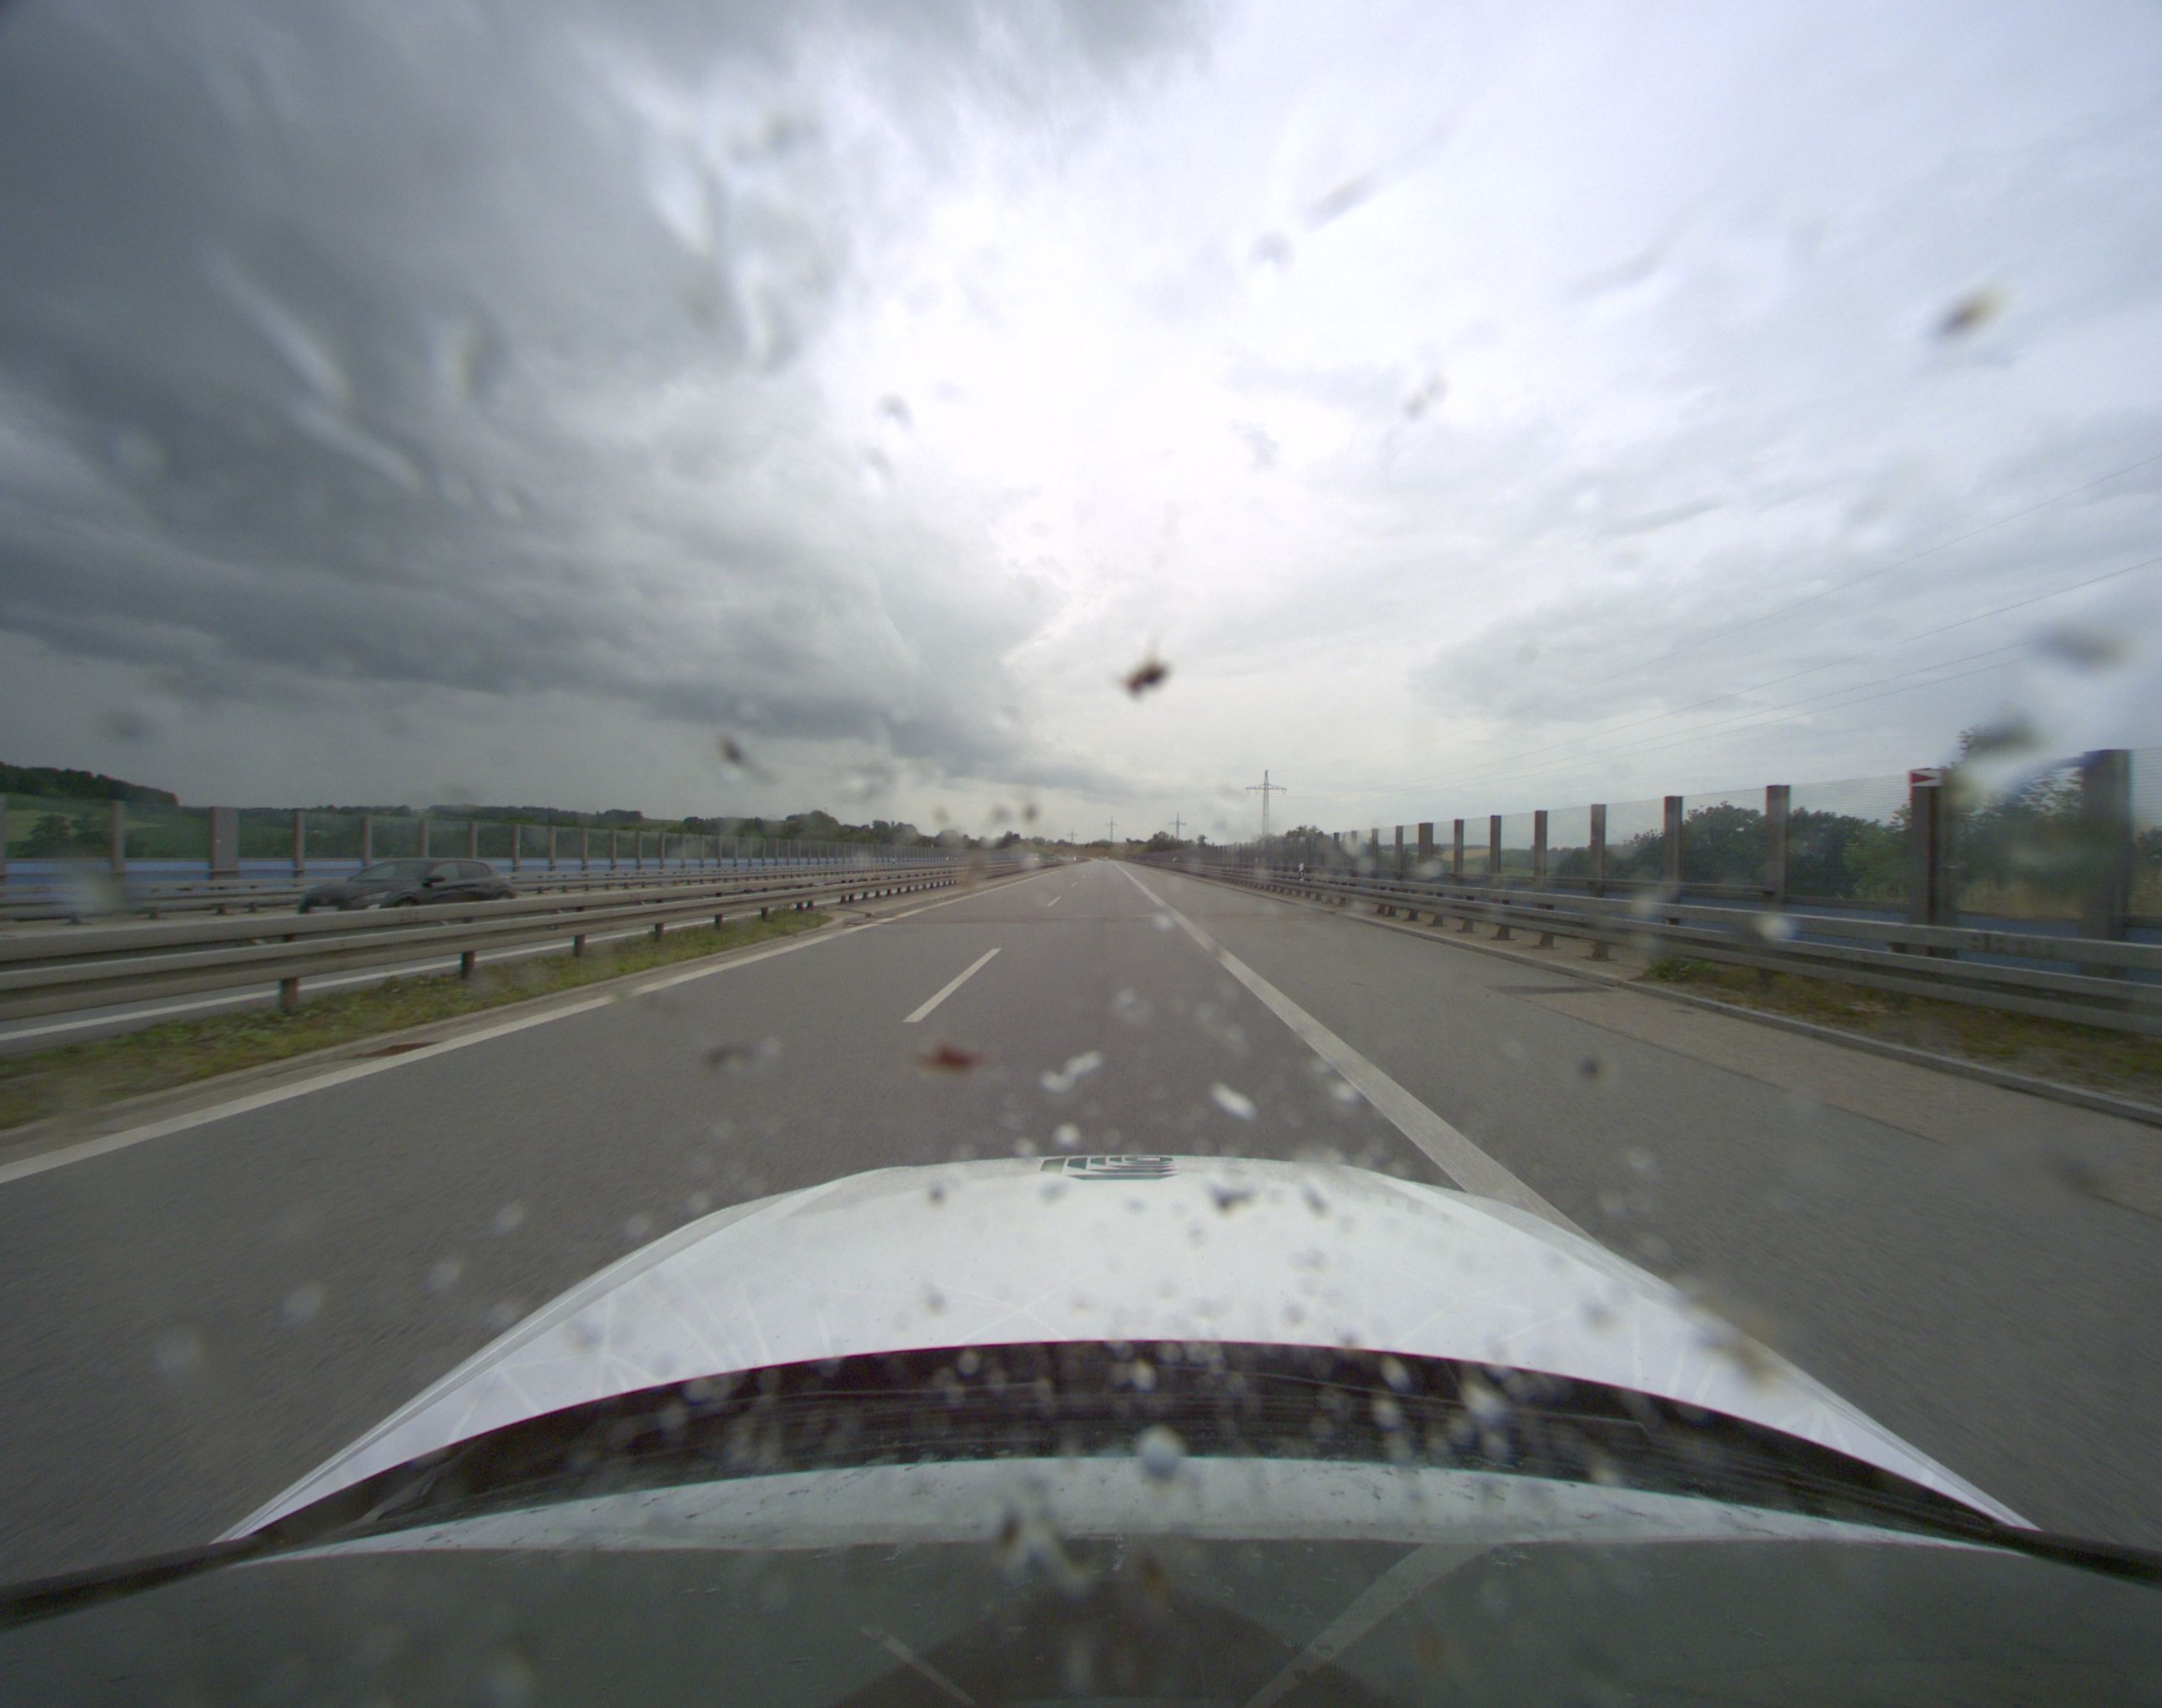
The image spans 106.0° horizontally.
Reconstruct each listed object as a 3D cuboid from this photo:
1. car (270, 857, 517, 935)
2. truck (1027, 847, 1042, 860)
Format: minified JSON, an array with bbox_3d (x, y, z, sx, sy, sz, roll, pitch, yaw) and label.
[{"bbox_3d":[-13.939,0.776,16.873,1.624,1.409,4.002,0,0,2],"label":"car"},{"bbox_3d":[-9.163,-0.127,160.400,2.264,2.431,7.455,0,0,2],"label":"truck"}]
